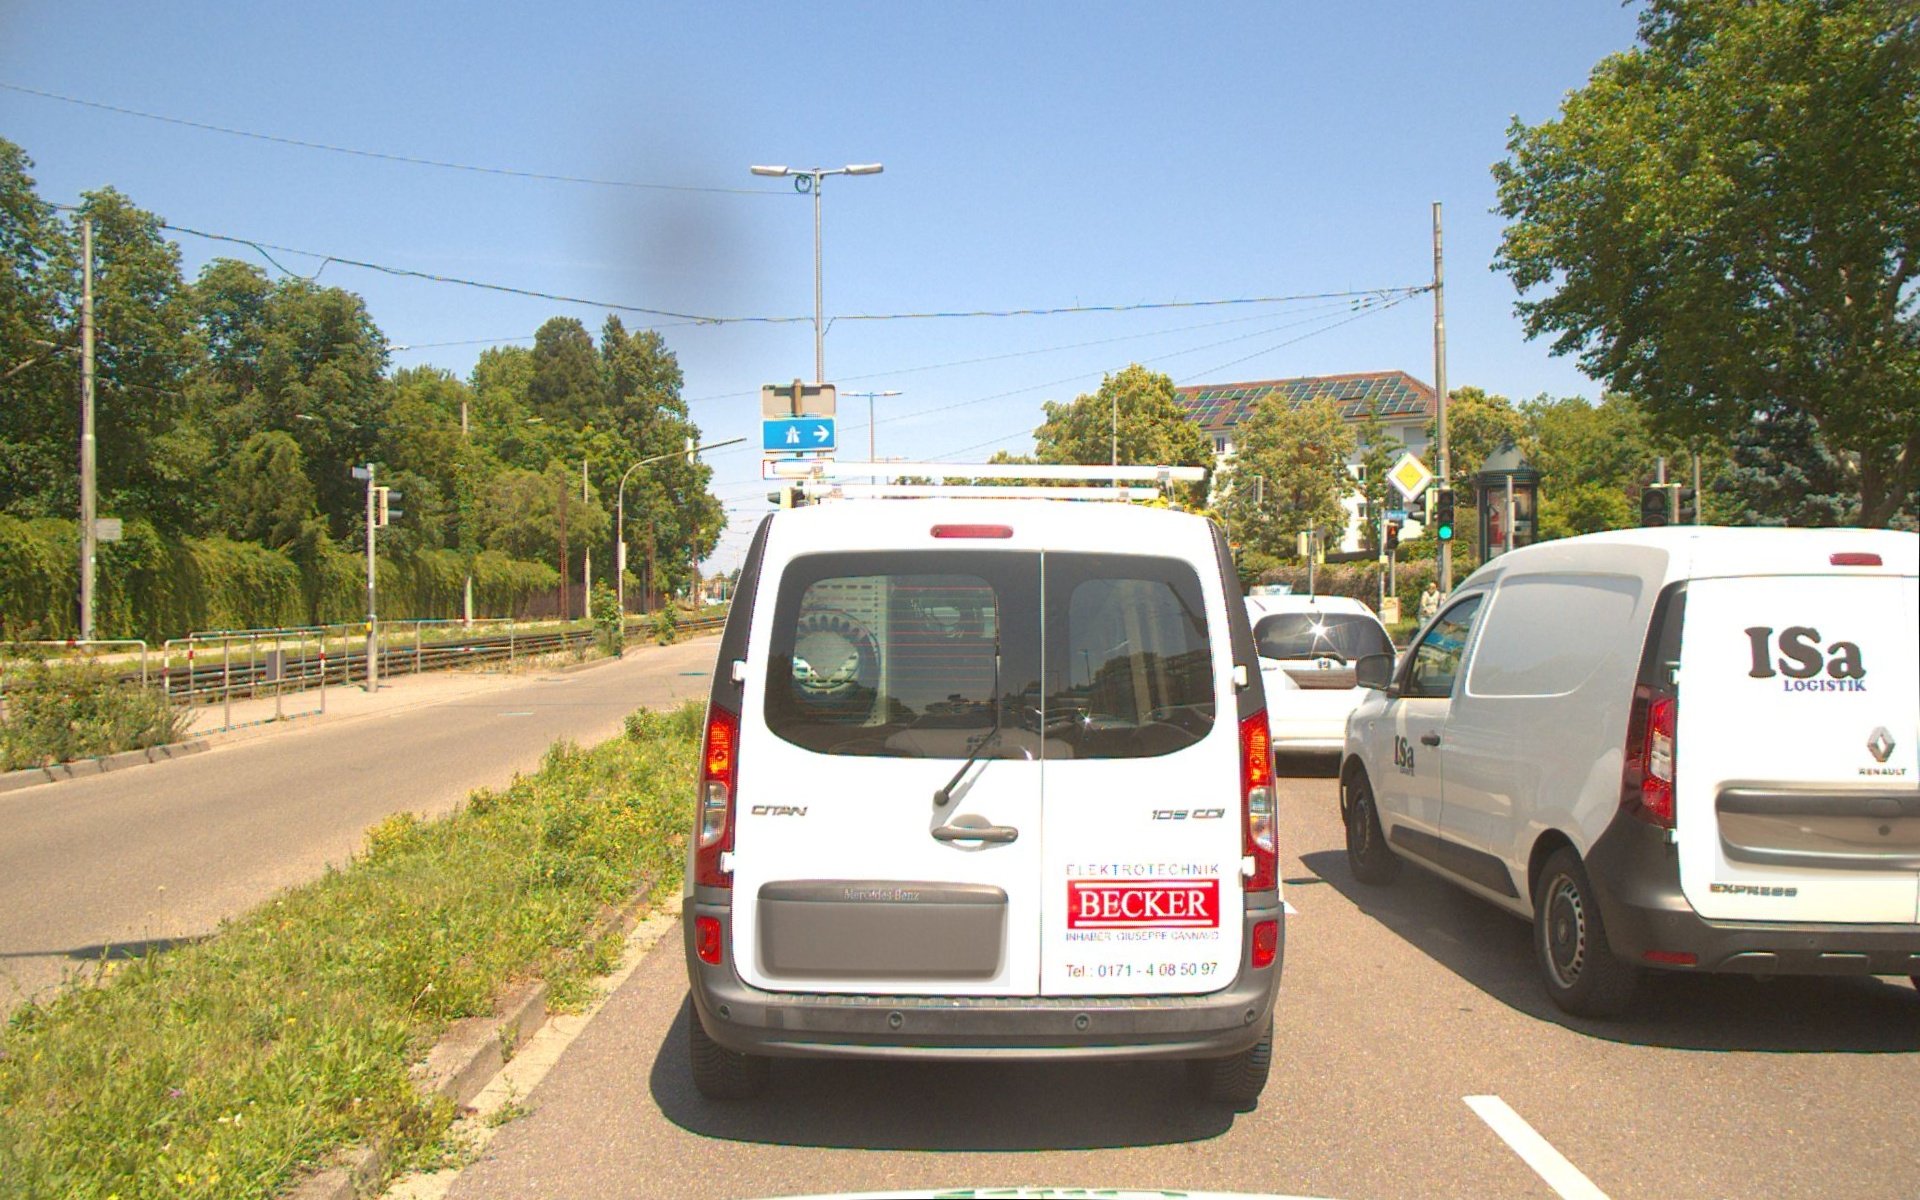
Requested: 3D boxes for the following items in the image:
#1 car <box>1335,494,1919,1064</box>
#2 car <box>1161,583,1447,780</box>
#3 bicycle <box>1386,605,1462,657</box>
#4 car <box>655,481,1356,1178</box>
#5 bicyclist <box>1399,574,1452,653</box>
[{"bbox_3d":[3.042,0.583,7.363,1.693,1.819,4.063,1,0,-2],"label":"car"},{"bbox_3d":[3.078,0.654,15.639,1.798,1.596,3.999,1,1,-1],"label":"car"},{"bbox_3d":[10.800,0.710,38.571,0.877,1.179,1.949,0,0,-14],"label":"bicycle"},{"bbox_3d":[0.090,0.580,6.422,1.784,1.770,4.395,0,0,-1],"label":"car"},{"bbox_3d":[10.837,0.304,38.552,0.957,1.819,0.723,0,0,-15],"label":"bicyclist"}]
